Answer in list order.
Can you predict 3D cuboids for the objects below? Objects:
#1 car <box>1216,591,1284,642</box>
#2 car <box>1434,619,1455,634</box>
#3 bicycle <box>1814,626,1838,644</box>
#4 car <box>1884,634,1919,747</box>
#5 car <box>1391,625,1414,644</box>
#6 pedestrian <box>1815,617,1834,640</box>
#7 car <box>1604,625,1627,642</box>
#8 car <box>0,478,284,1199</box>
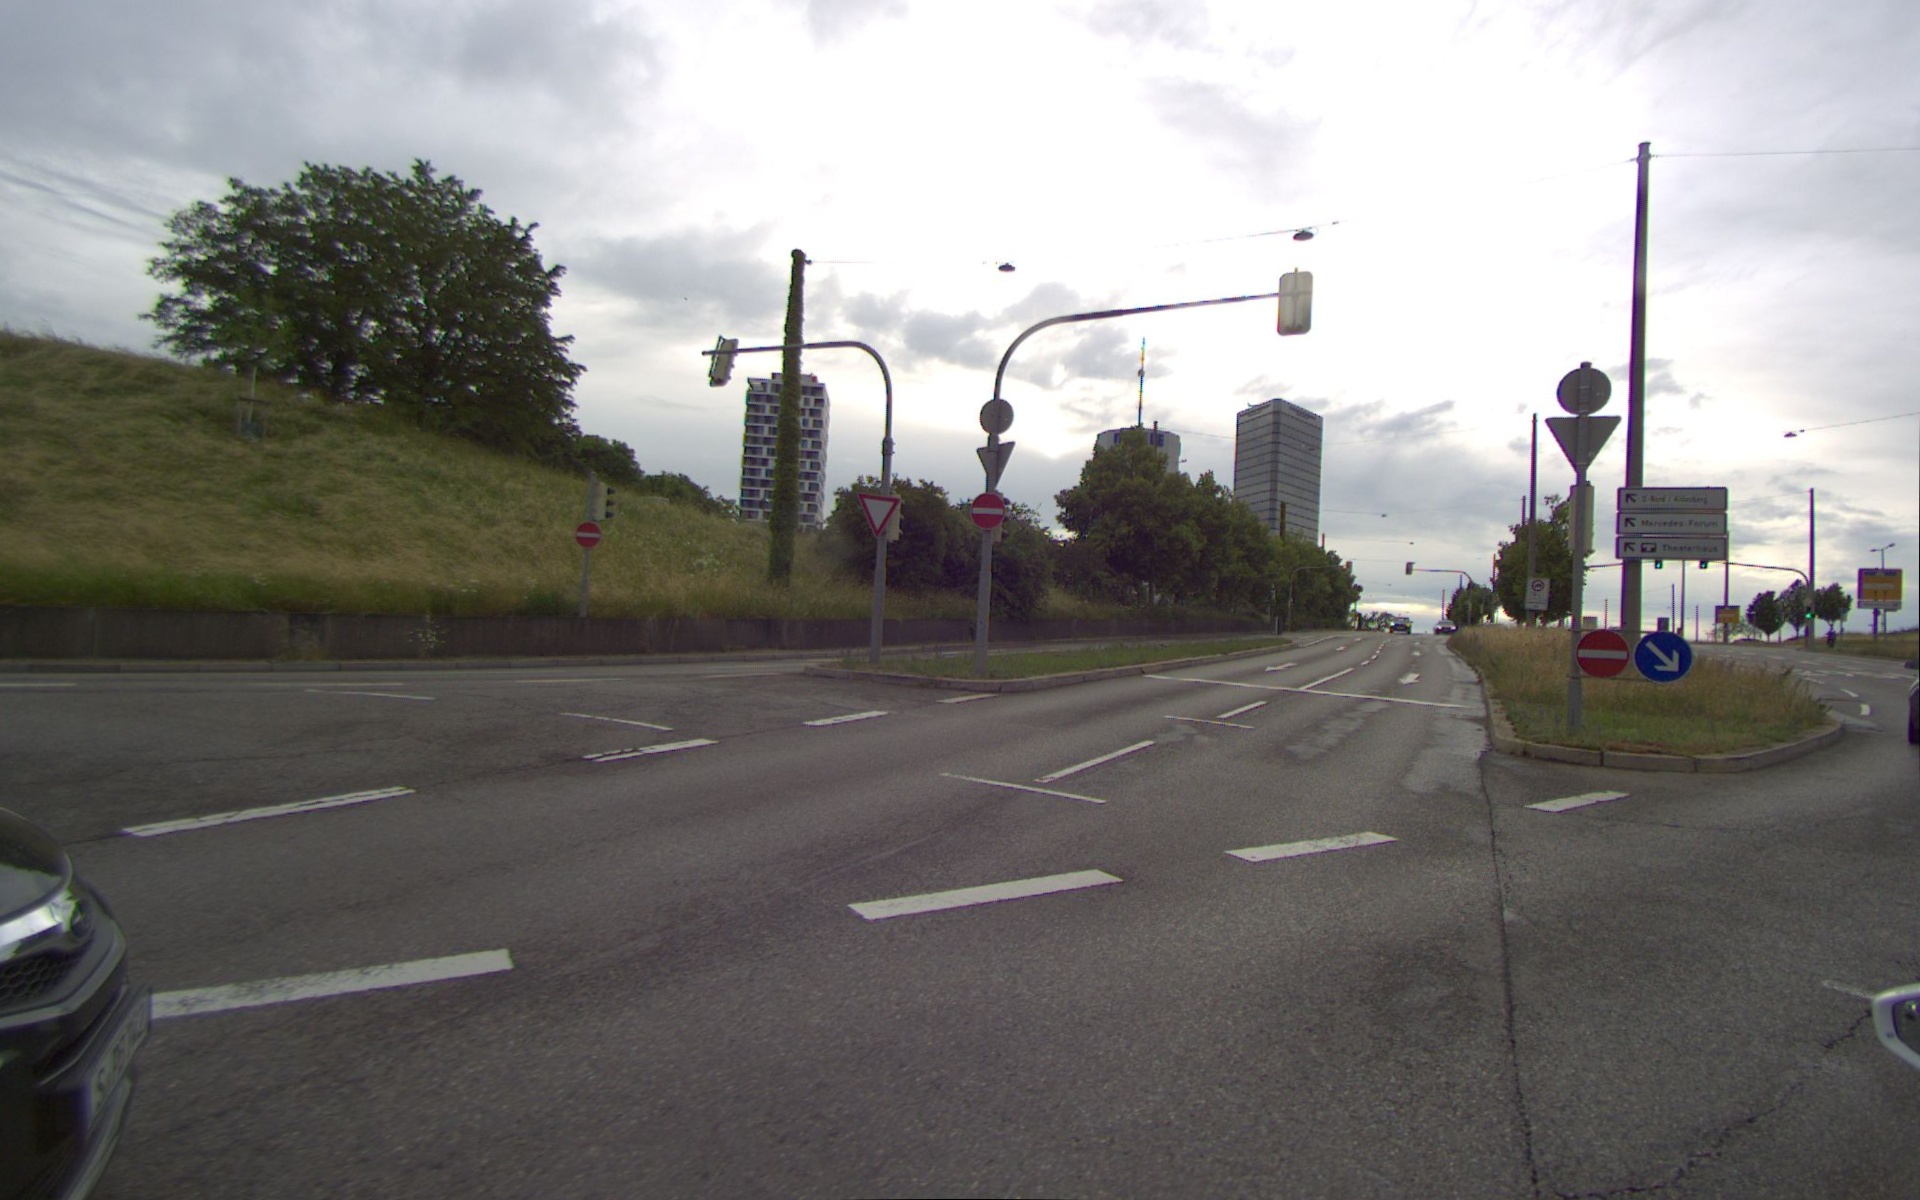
[{"bbox_3d":[12.359,0.716,42.600,1.964,2.040,3.994,0,-1,28],"label":"car"},{"bbox_3d":[50.471,2.764,104.618,1.781,1.489,3.609,3,0,27],"label":"car"},{"bbox_3d":[65.507,2.672,75.986,0.623,1.119,1.753,-8,1,19],"label":"bicycle"},{"bbox_3d":[14.520,1.287,14.205,3.949,1.481,1.851,3,0,-43],"label":"car"},{"bbox_3d":[41.725,3.199,94.635,1.832,1.642,3.996,3,0,25],"label":"car"},{"bbox_3d":[65.418,2.142,75.973,0.623,1.590,0.895,-9,2,19],"label":"pedestrian"},{"bbox_3d":[66.752,3.384,102.272,1.697,1.562,3.696,4,1,30],"label":"car"},{"bbox_3d":[-3.340,0.571,1.199,3.993,1.586,1.788,2,0,-29],"label":"car"}]
